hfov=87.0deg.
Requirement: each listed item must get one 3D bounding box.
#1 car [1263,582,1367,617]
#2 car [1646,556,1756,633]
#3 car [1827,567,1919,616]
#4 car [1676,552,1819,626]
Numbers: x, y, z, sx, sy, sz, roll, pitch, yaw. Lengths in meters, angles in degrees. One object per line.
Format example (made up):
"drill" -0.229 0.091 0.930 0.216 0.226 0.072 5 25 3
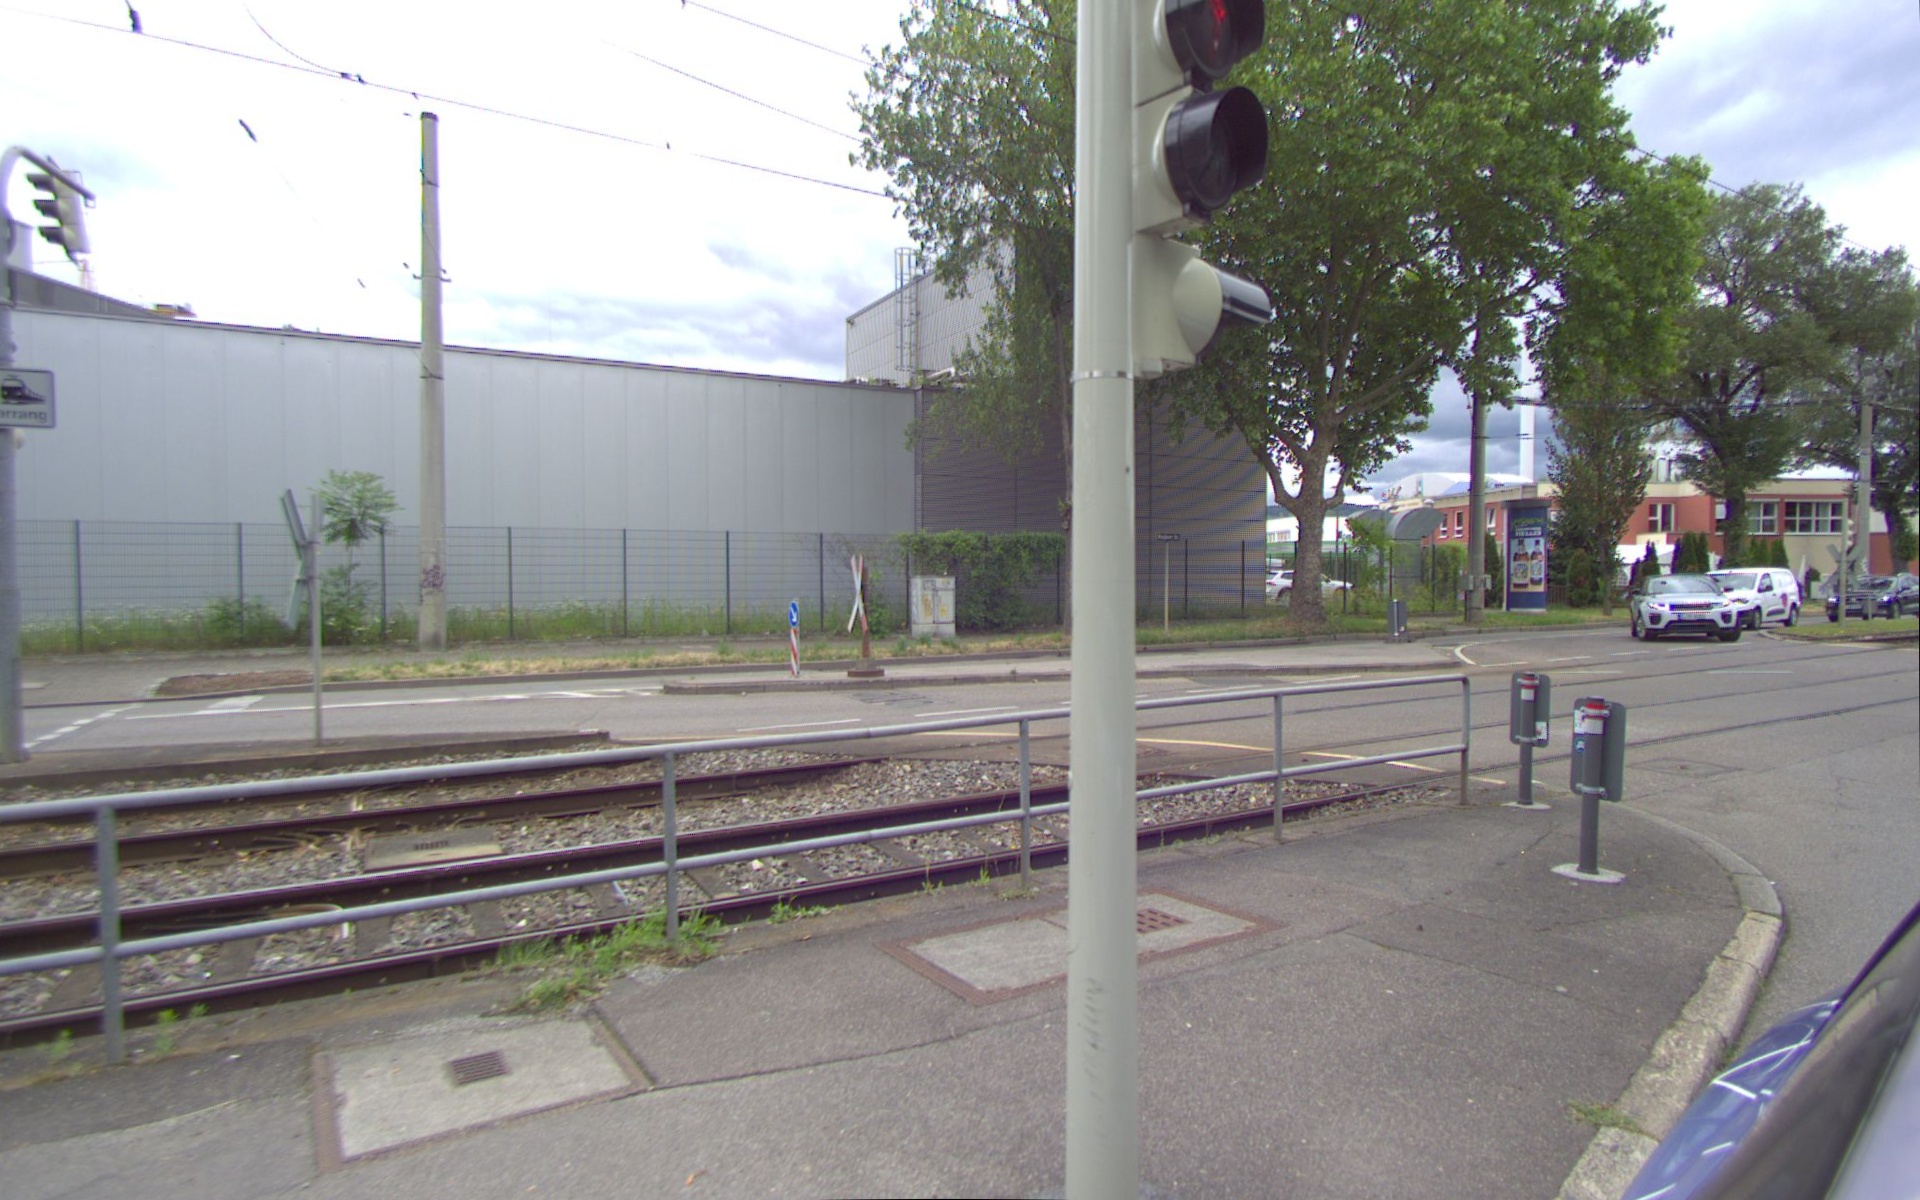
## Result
"car" 17.576 -0.027 50.276 4.414 1.686 2.001 0 1 -2
"car" 18.121 -0.137 24.906 1.986 1.711 4.216 -2 0 34
"car" 32.180 -0.313 35.063 4.472 1.576 2.001 -1 0 -32
"car" 23.579 -0.339 30.247 4.938 2.027 2.000 -1 1 -35
